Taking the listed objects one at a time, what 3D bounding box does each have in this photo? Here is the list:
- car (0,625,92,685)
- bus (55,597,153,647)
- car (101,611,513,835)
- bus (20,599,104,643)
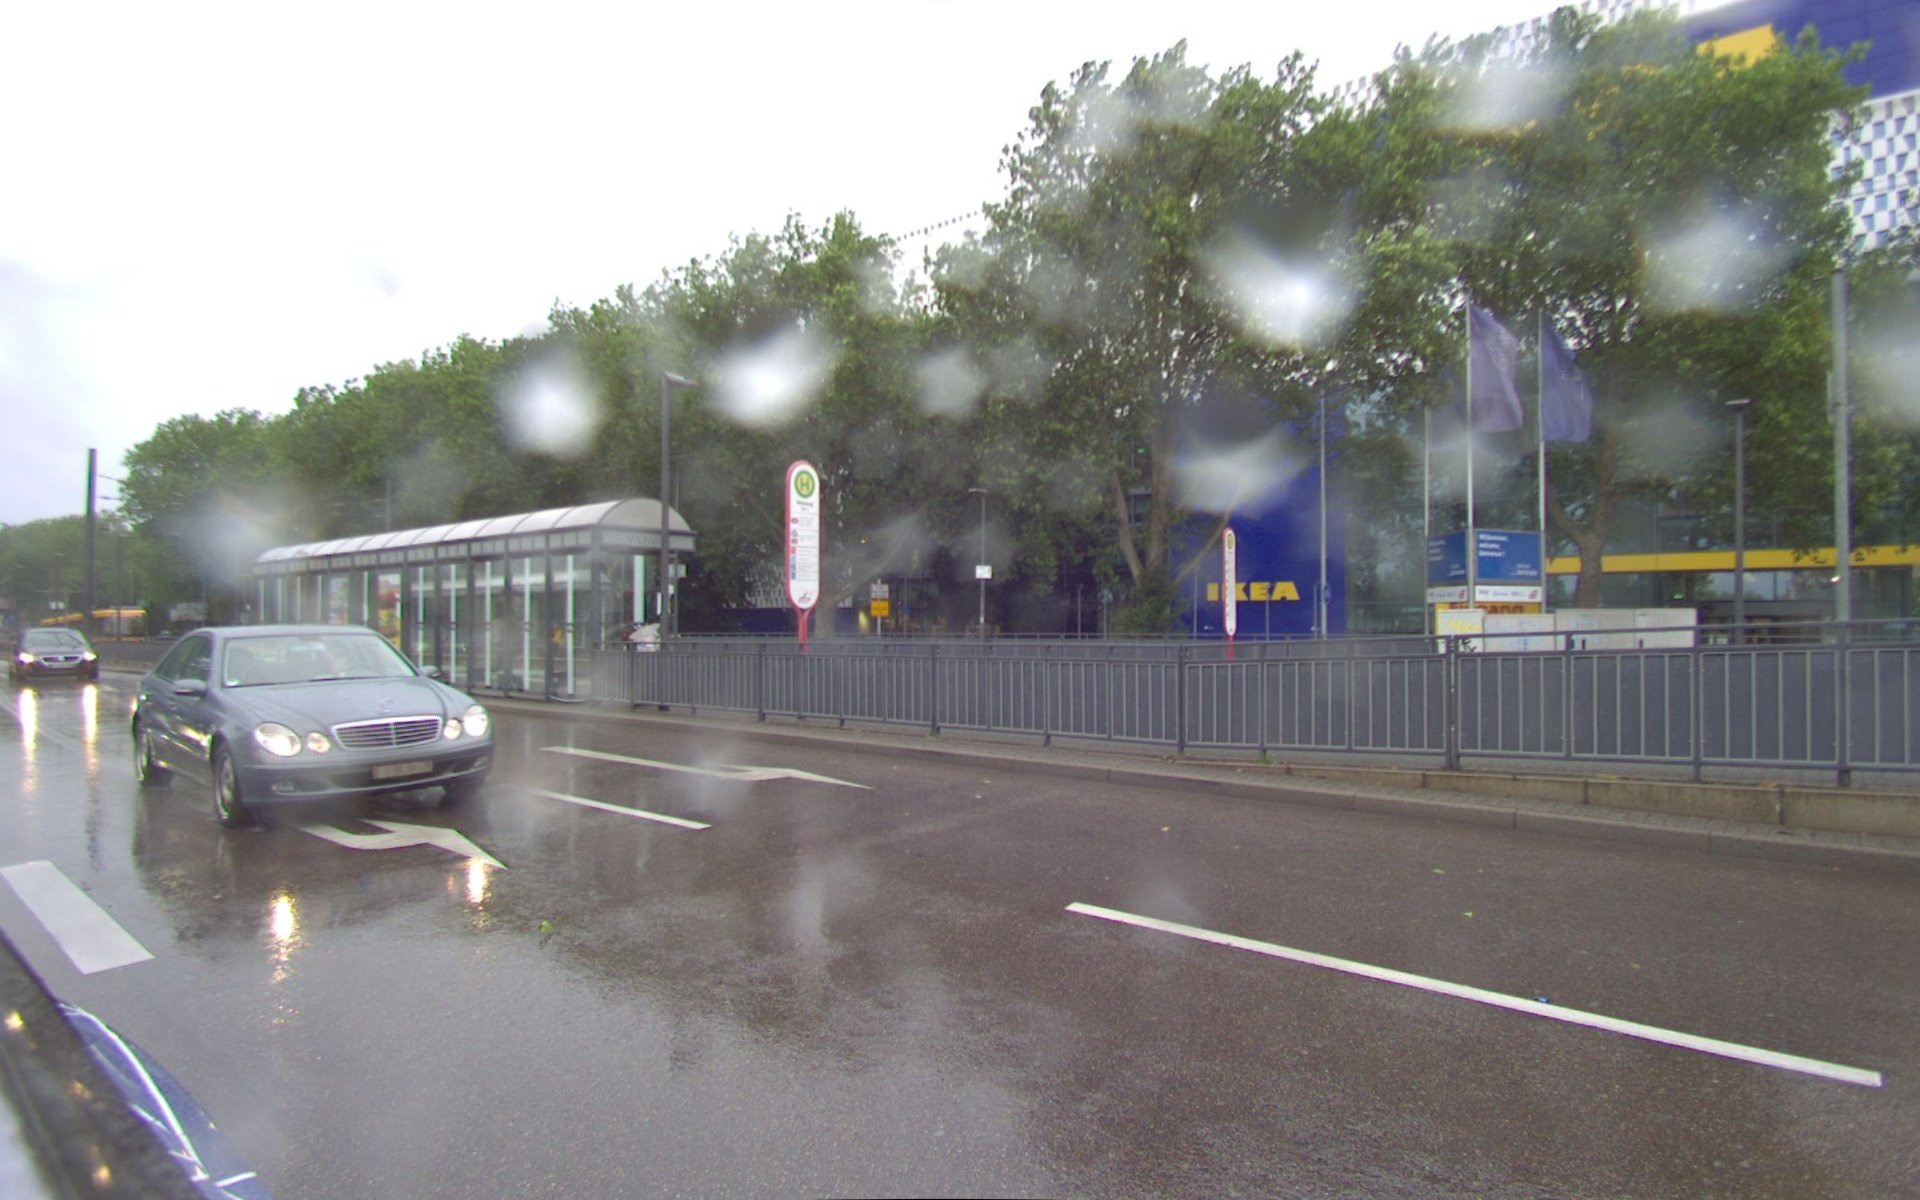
[{"bbox_3d":[-26.220,1.505,28.825,4.596,1.512,1.752,-1,0,43],"label":"car"},{"bbox_3d":[-62.583,1.563,73.781,15.050,3.354,2.902,-1,0,40],"label":"bus"},{"bbox_3d":[-5.787,0.829,8.693,4.642,1.409,1.744,-1,0,41],"label":"car"},{"bbox_3d":[-74.217,1.685,83.461,15.048,3.354,2.902,-1,0,39],"label":"bus"}]
